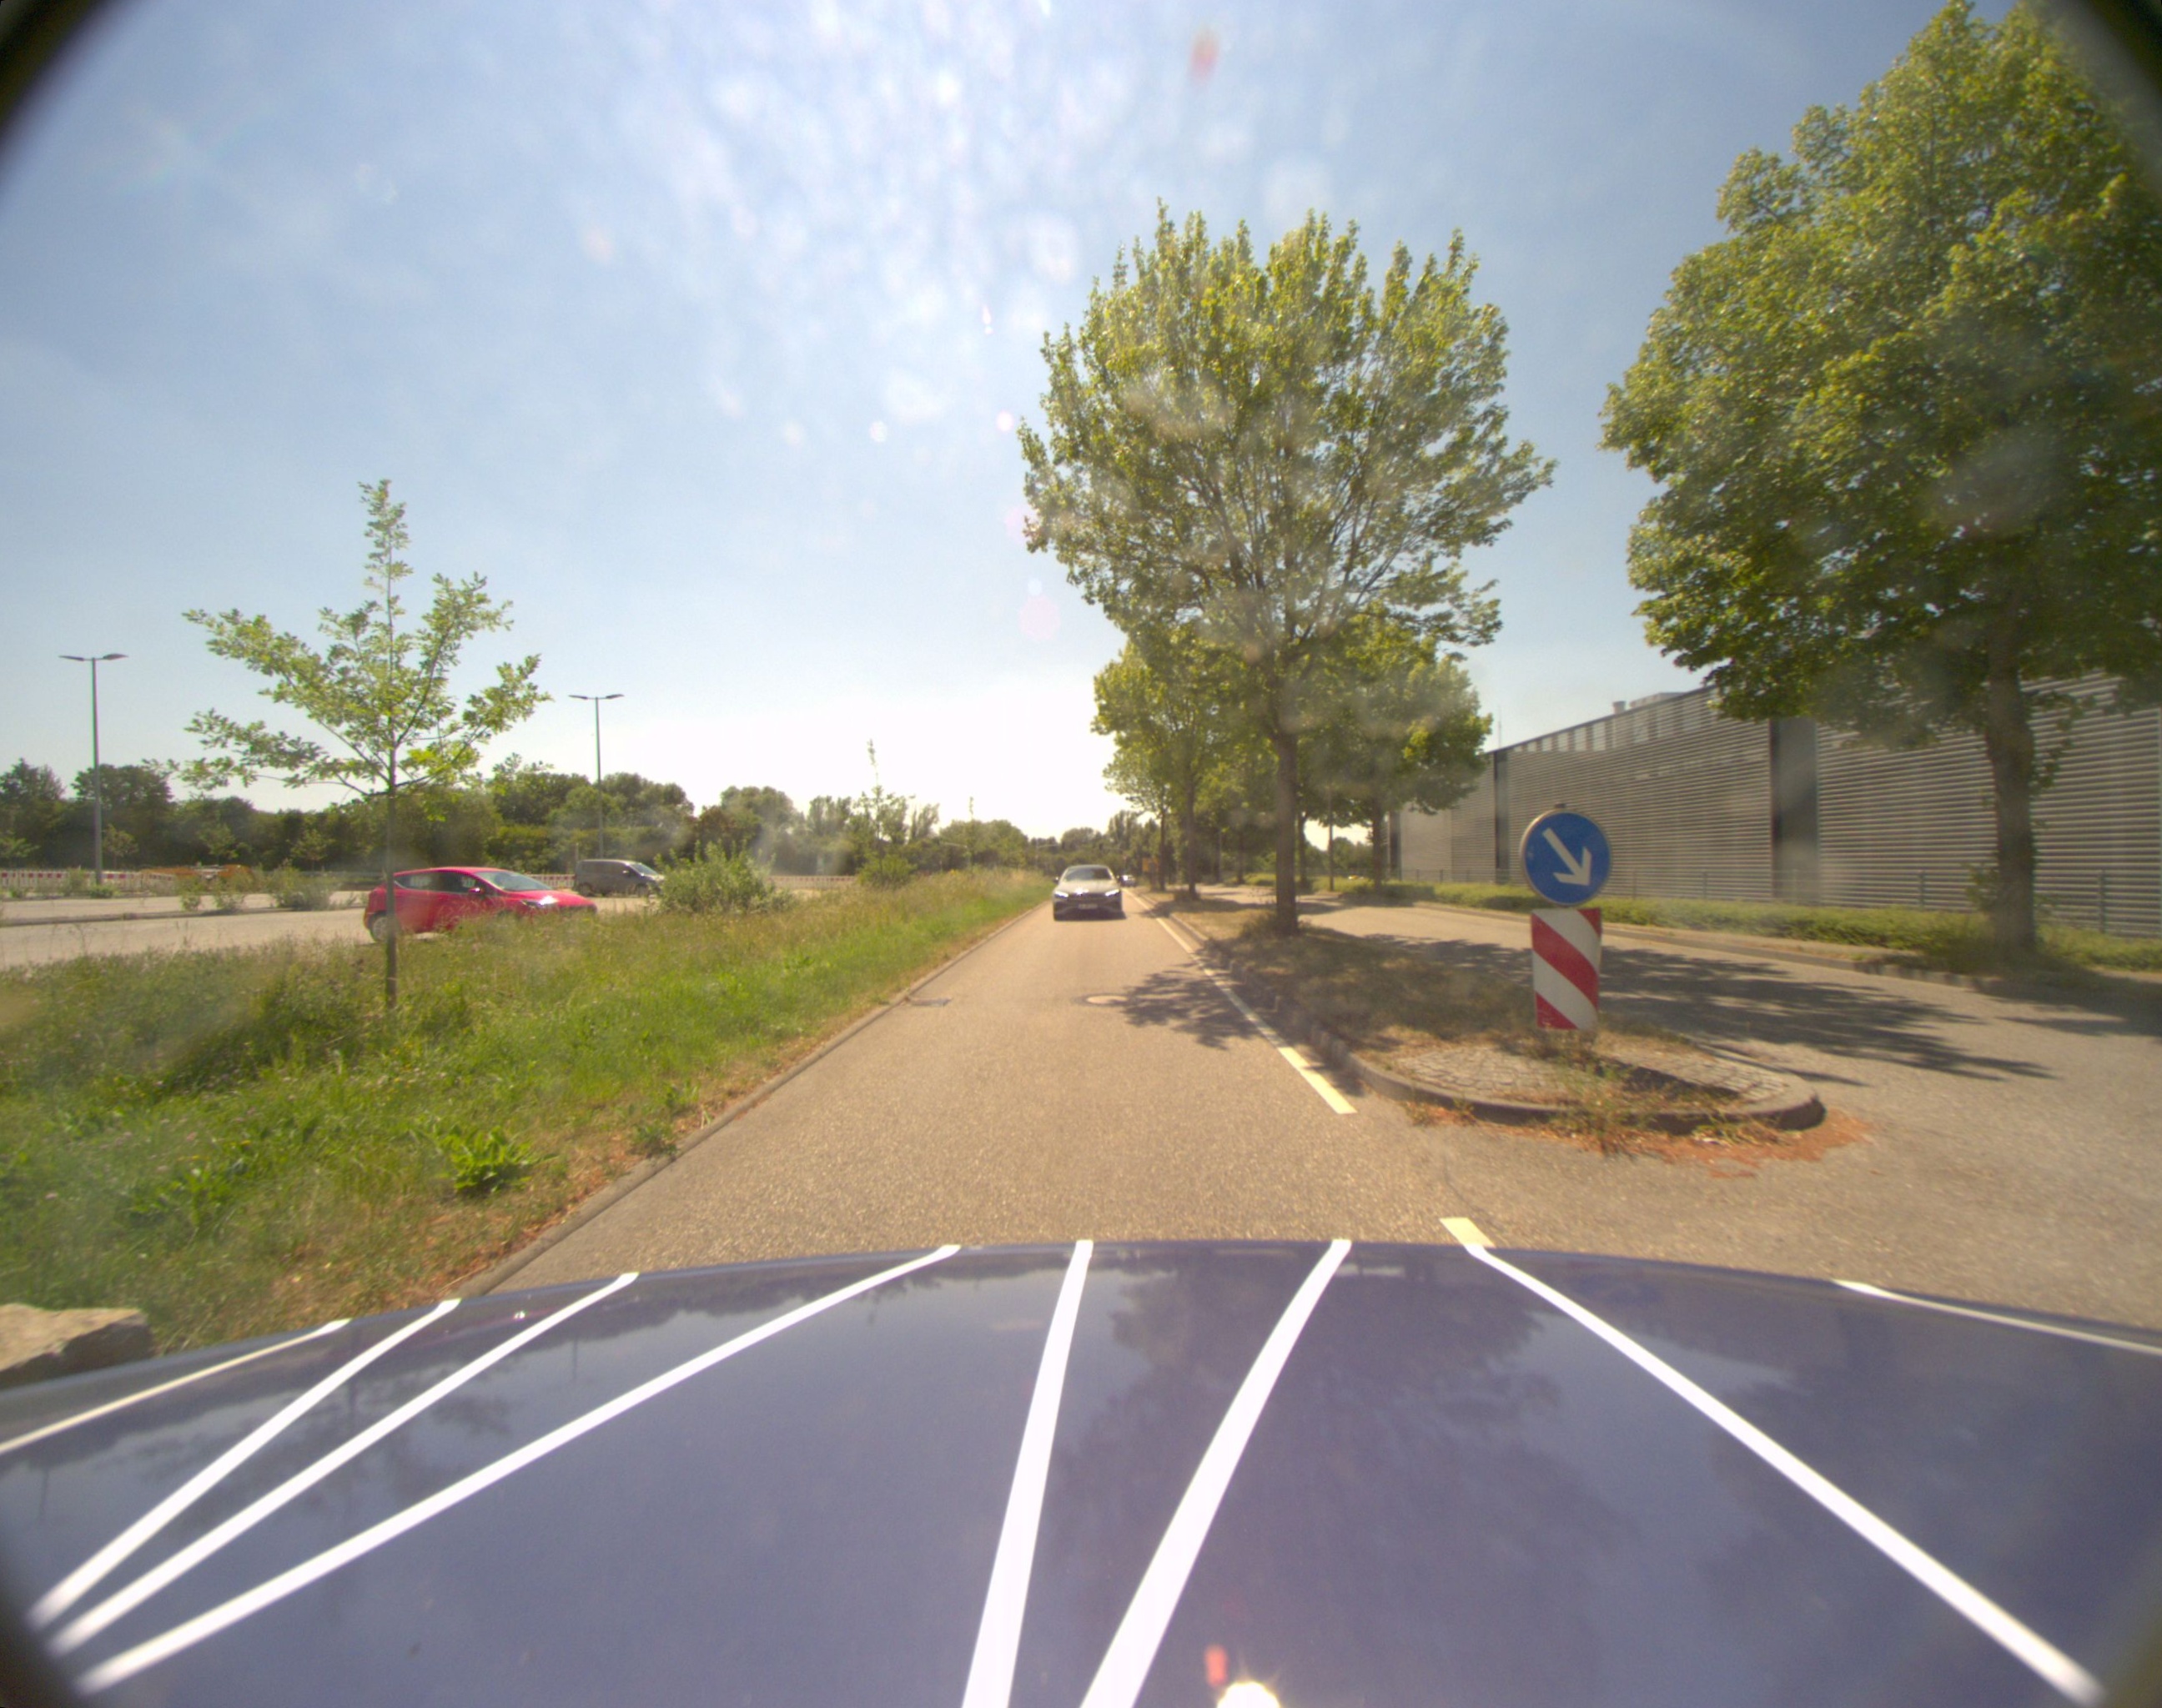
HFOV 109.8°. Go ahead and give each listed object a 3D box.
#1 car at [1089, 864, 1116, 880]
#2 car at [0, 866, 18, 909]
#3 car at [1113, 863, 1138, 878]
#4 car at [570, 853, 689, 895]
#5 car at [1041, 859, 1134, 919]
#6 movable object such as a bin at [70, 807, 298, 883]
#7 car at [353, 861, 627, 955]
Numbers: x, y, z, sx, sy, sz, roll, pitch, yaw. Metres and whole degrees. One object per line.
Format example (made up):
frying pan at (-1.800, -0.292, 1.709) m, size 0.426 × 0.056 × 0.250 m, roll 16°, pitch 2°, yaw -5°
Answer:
car at (2.735, 2.248, 96.703) m, size 2.001 × 1.931 × 4.865 m, roll -4°, pitch 0°, yaw -16°
car at (-43.229, 1.206, 28.231) m, size 4.001 × 1.629 × 1.999 m, roll 1°, pitch -3°, yaw -10°
car at (5.725, 2.121, 97.593) m, size 2.001 × 1.697 × 3.860 m, roll -4°, pitch 0°, yaw -16°
car at (-21.579, 0.970, 36.424) m, size 4.474 × 1.903 × 1.940 m, roll 1°, pitch -1°, yaw 0°
car at (0.057, 0.970, 21.757) m, size 1.923 × 1.433 × 4.480 m, roll -3°, pitch -2°, yaw -9°
movable object such as a bin at (-53.041, -0.364, 45.389) m, size 8.122 × 4.018 × 2.981 m, roll 3°, pitch -4°, yaw -33°
car at (-11.671, 1.020, 15.217) m, size 3.996 × 1.714 × 1.927 m, roll 0°, pitch 0°, yaw 1°
